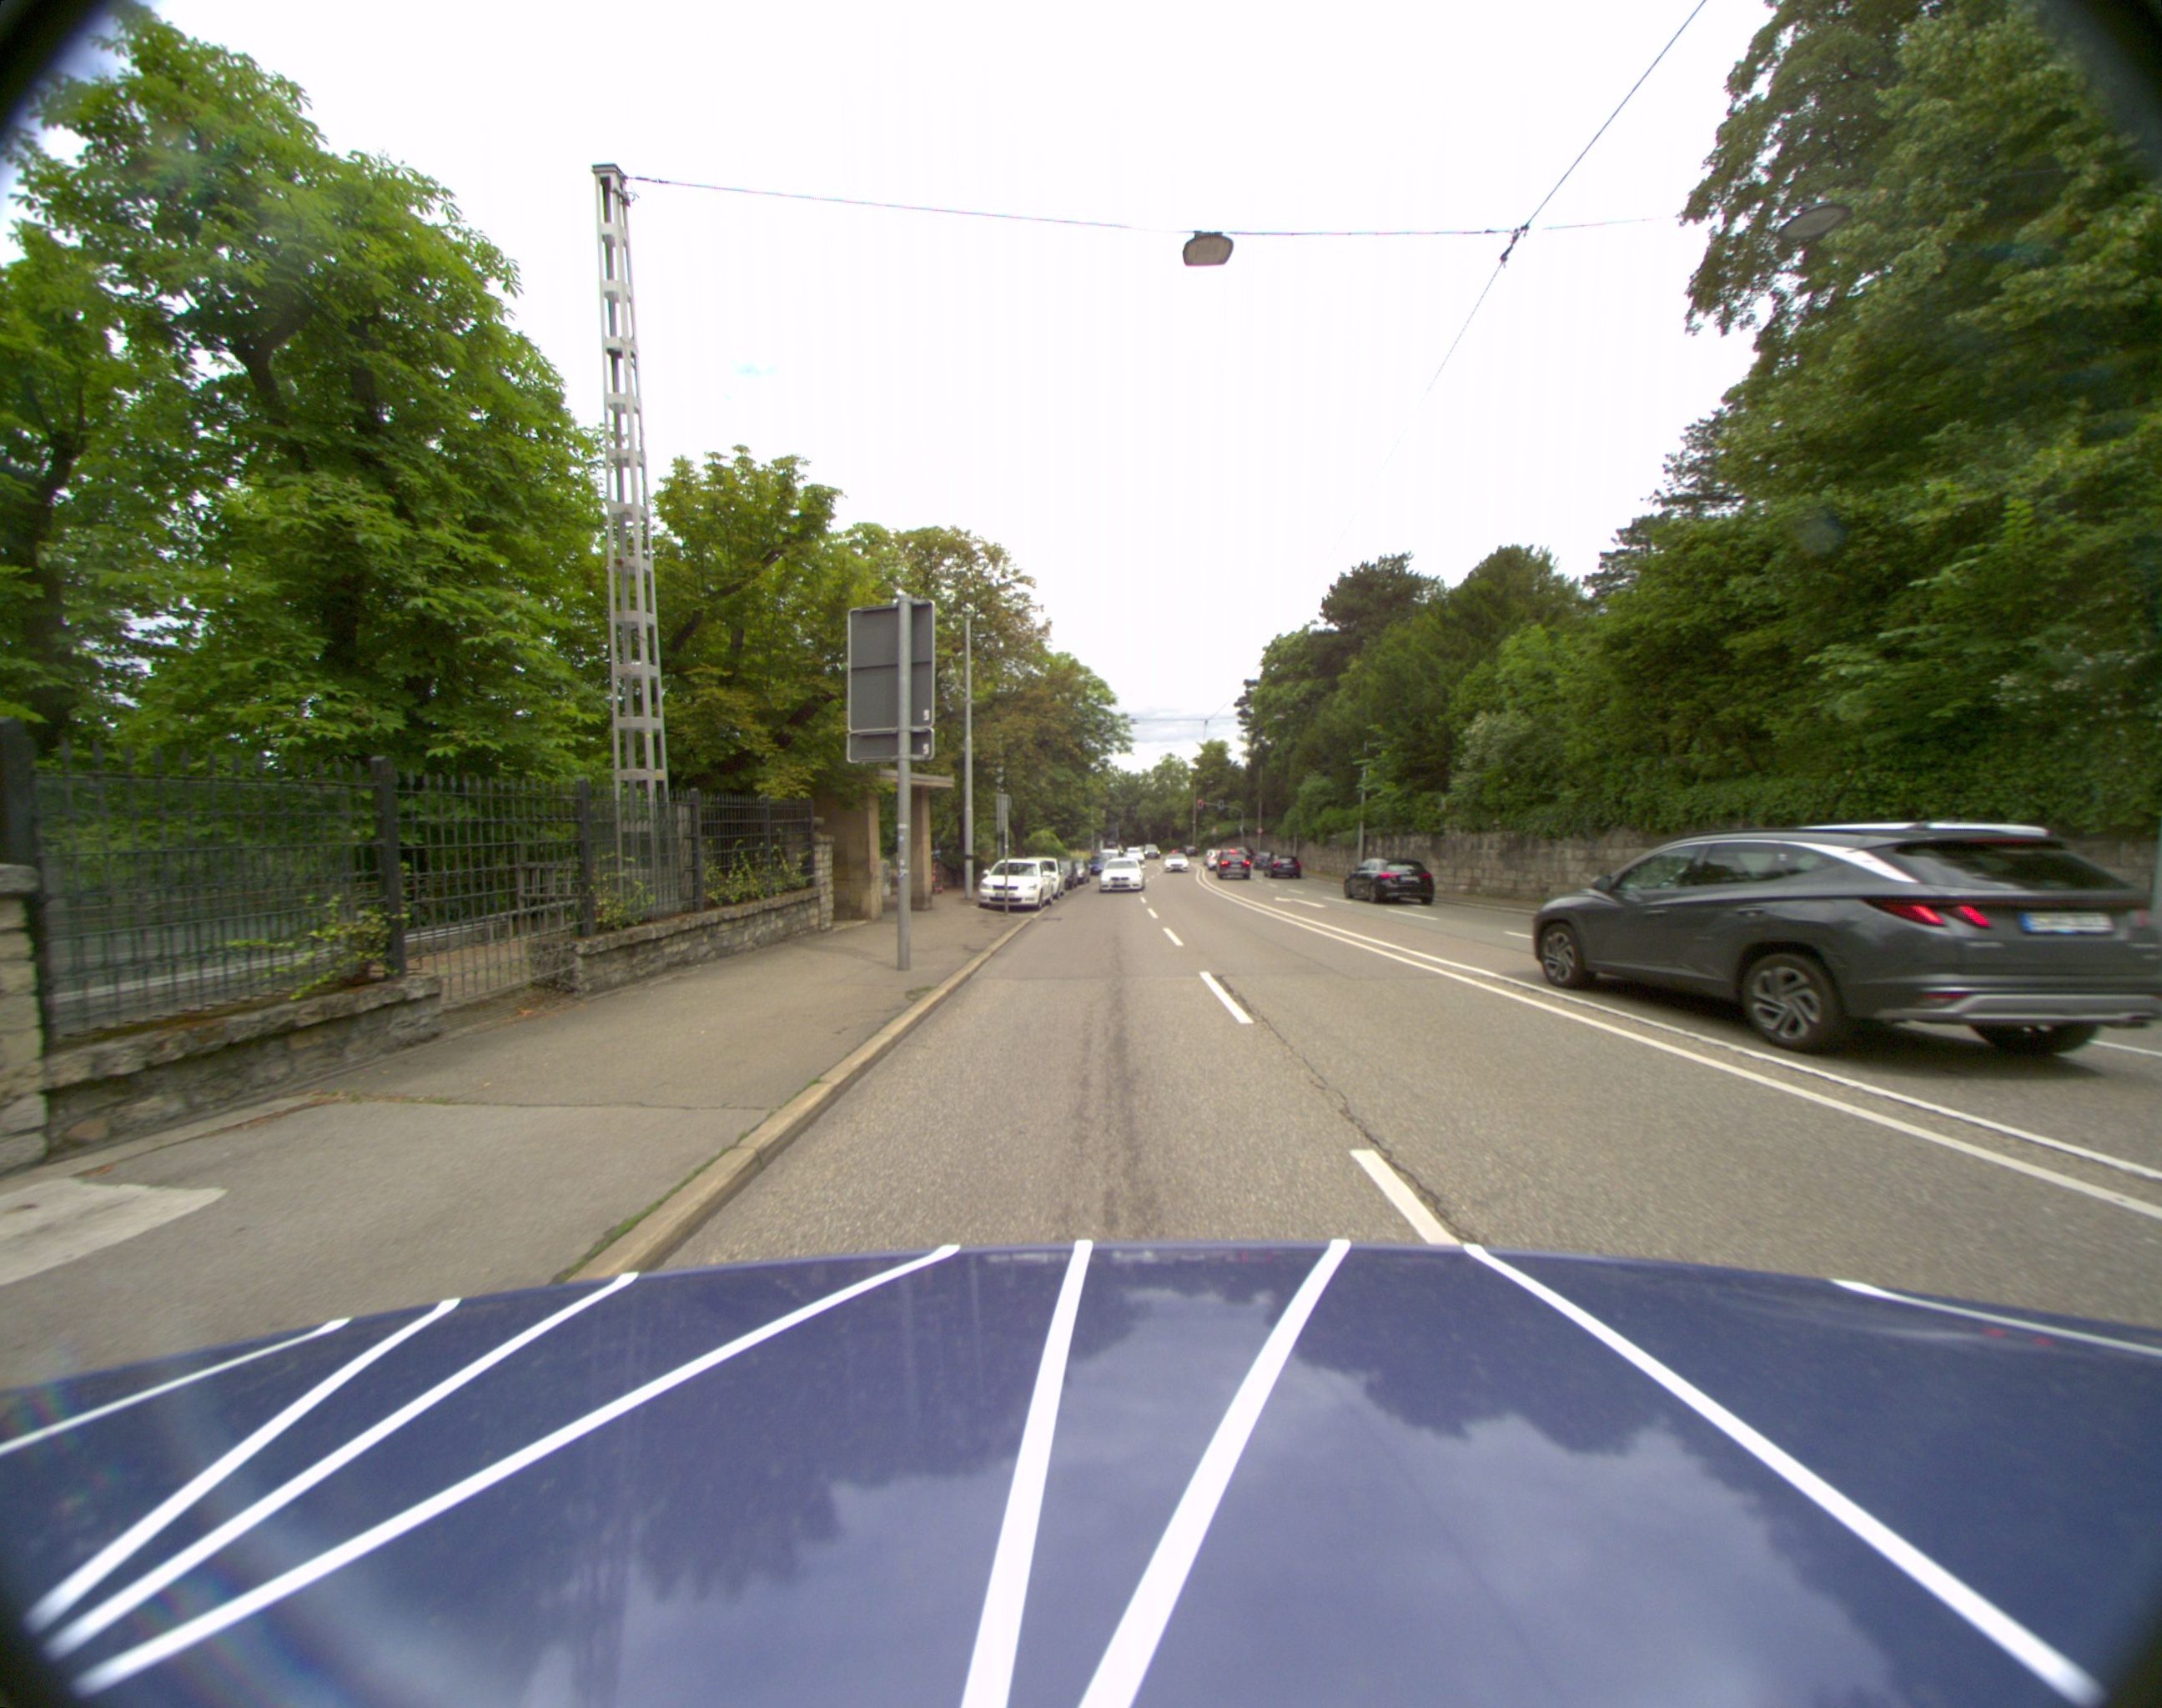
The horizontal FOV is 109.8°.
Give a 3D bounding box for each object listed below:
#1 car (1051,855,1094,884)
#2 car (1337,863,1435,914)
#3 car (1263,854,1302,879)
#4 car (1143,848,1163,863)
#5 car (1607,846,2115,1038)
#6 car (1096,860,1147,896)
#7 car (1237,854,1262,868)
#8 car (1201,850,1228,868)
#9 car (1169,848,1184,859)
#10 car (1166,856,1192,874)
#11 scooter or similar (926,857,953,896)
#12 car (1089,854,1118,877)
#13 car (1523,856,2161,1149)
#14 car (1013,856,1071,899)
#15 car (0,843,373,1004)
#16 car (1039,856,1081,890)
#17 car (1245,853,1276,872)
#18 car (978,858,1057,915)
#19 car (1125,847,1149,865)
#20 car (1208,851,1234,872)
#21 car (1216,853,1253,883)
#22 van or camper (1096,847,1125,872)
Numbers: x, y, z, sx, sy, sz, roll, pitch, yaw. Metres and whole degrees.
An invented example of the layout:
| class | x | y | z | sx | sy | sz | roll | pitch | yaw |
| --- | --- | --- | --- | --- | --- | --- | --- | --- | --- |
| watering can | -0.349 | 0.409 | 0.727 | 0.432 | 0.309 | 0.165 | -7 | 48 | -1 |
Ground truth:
| class | x | y | z | sx | sy | sz | roll | pitch | yaw |
| --- | --- | --- | --- | --- | --- | --- | --- | --- | --- |
| car | -0.395 | 0.793 | 41.929 | 1.773 | 1.391 | 4.553 | 1 | 1 | 7 |
| car | 9.683 | 1.037 | 24.453 | 1.566 | 1.394 | 4.254 | 1 | 1 | 2 |
| car | 12.475 | 0.752 | 47.266 | 1.846 | 1.401 | 4.458 | 1 | 1 | 8 |
| car | 8.612 | 0.144 | 90.784 | 1.958 | 1.730 | 3.999 | -1 | 0 | -1 |
| car | 9.023 | 0.833 | 9.517 | 1.897 | 1.837 | 4.397 | 0 | 0 | 2 |
| car | 1.892 | 1.069 | 33.855 | 1.821 | 1.462 | 4.788 | -1 | -1 | 8 |
| car | 16.620 | 0.677 | 75.081 | 2.006 | 1.401 | 4.758 | -1 | 0 | 7 |
| car | 12.395 | 0.435 | 70.944 | 1.998 | 1.461 | 4.878 | 0 | 1 | 4 |
| car | 13.746 | -0.063 | 109.660 | 1.635 | 1.426 | 3.957 | -1 | 1 | -1 |
| car | 7.655 | 0.845 | 59.126 | 1.801 | 1.382 | 3.530 | 0 | 0 | 10 |
| scooter or similar | -4.808 | 0.757 | 25.817 | 0.517 | 1.253 | 1.169 | 2 | 1 | 7 |
| car | 1.652 | 0.793 | 54.469 | 1.600 | 1.451 | 3.944 | 1 | 1 | 9 |
| car | 5.954 | 0.850 | 6.491 | 1.853 | 1.622 | 4.361 | -1 | 0 | 1 |
| car | -1.408 | 0.839 | 29.008 | 1.719 | 1.463 | 4.039 | 2 | 0 | 3 |
| car | -10.932 | 0.665 | 8.560 | 1.998 | 1.498 | 4.001 | -1 | 0 | 4 |
| car | -0.959 | 0.869 | 36.461 | 1.564 | 1.414 | 3.425 | 2 | 1 | 5 |
| car | 14.147 | 0.642 | 60.131 | 1.846 | 1.428 | 4.001 | 0 | 0 | 5 |
| car | -1.805 | 0.900 | 22.922 | 1.679 | 1.453 | 4.366 | 1 | 1 | 4 |
| car | 5.876 | 0.189 | 80.311 | 1.959 | 1.761 | 3.998 | -1 | 0 | -4 |
| car | 11.139 | 0.592 | 60.613 | 1.841 | 1.545 | 4.790 | -1 | 1 | 8 |
| car | 9.186 | 0.796 | 45.815 | 1.851 | 1.642 | 4.626 | 1 | 1 | 7 |
| van or camper | 2.331 | 0.430 | 59.637 | 1.701 | 1.834 | 4.244 | 0 | 1 | 10 |
